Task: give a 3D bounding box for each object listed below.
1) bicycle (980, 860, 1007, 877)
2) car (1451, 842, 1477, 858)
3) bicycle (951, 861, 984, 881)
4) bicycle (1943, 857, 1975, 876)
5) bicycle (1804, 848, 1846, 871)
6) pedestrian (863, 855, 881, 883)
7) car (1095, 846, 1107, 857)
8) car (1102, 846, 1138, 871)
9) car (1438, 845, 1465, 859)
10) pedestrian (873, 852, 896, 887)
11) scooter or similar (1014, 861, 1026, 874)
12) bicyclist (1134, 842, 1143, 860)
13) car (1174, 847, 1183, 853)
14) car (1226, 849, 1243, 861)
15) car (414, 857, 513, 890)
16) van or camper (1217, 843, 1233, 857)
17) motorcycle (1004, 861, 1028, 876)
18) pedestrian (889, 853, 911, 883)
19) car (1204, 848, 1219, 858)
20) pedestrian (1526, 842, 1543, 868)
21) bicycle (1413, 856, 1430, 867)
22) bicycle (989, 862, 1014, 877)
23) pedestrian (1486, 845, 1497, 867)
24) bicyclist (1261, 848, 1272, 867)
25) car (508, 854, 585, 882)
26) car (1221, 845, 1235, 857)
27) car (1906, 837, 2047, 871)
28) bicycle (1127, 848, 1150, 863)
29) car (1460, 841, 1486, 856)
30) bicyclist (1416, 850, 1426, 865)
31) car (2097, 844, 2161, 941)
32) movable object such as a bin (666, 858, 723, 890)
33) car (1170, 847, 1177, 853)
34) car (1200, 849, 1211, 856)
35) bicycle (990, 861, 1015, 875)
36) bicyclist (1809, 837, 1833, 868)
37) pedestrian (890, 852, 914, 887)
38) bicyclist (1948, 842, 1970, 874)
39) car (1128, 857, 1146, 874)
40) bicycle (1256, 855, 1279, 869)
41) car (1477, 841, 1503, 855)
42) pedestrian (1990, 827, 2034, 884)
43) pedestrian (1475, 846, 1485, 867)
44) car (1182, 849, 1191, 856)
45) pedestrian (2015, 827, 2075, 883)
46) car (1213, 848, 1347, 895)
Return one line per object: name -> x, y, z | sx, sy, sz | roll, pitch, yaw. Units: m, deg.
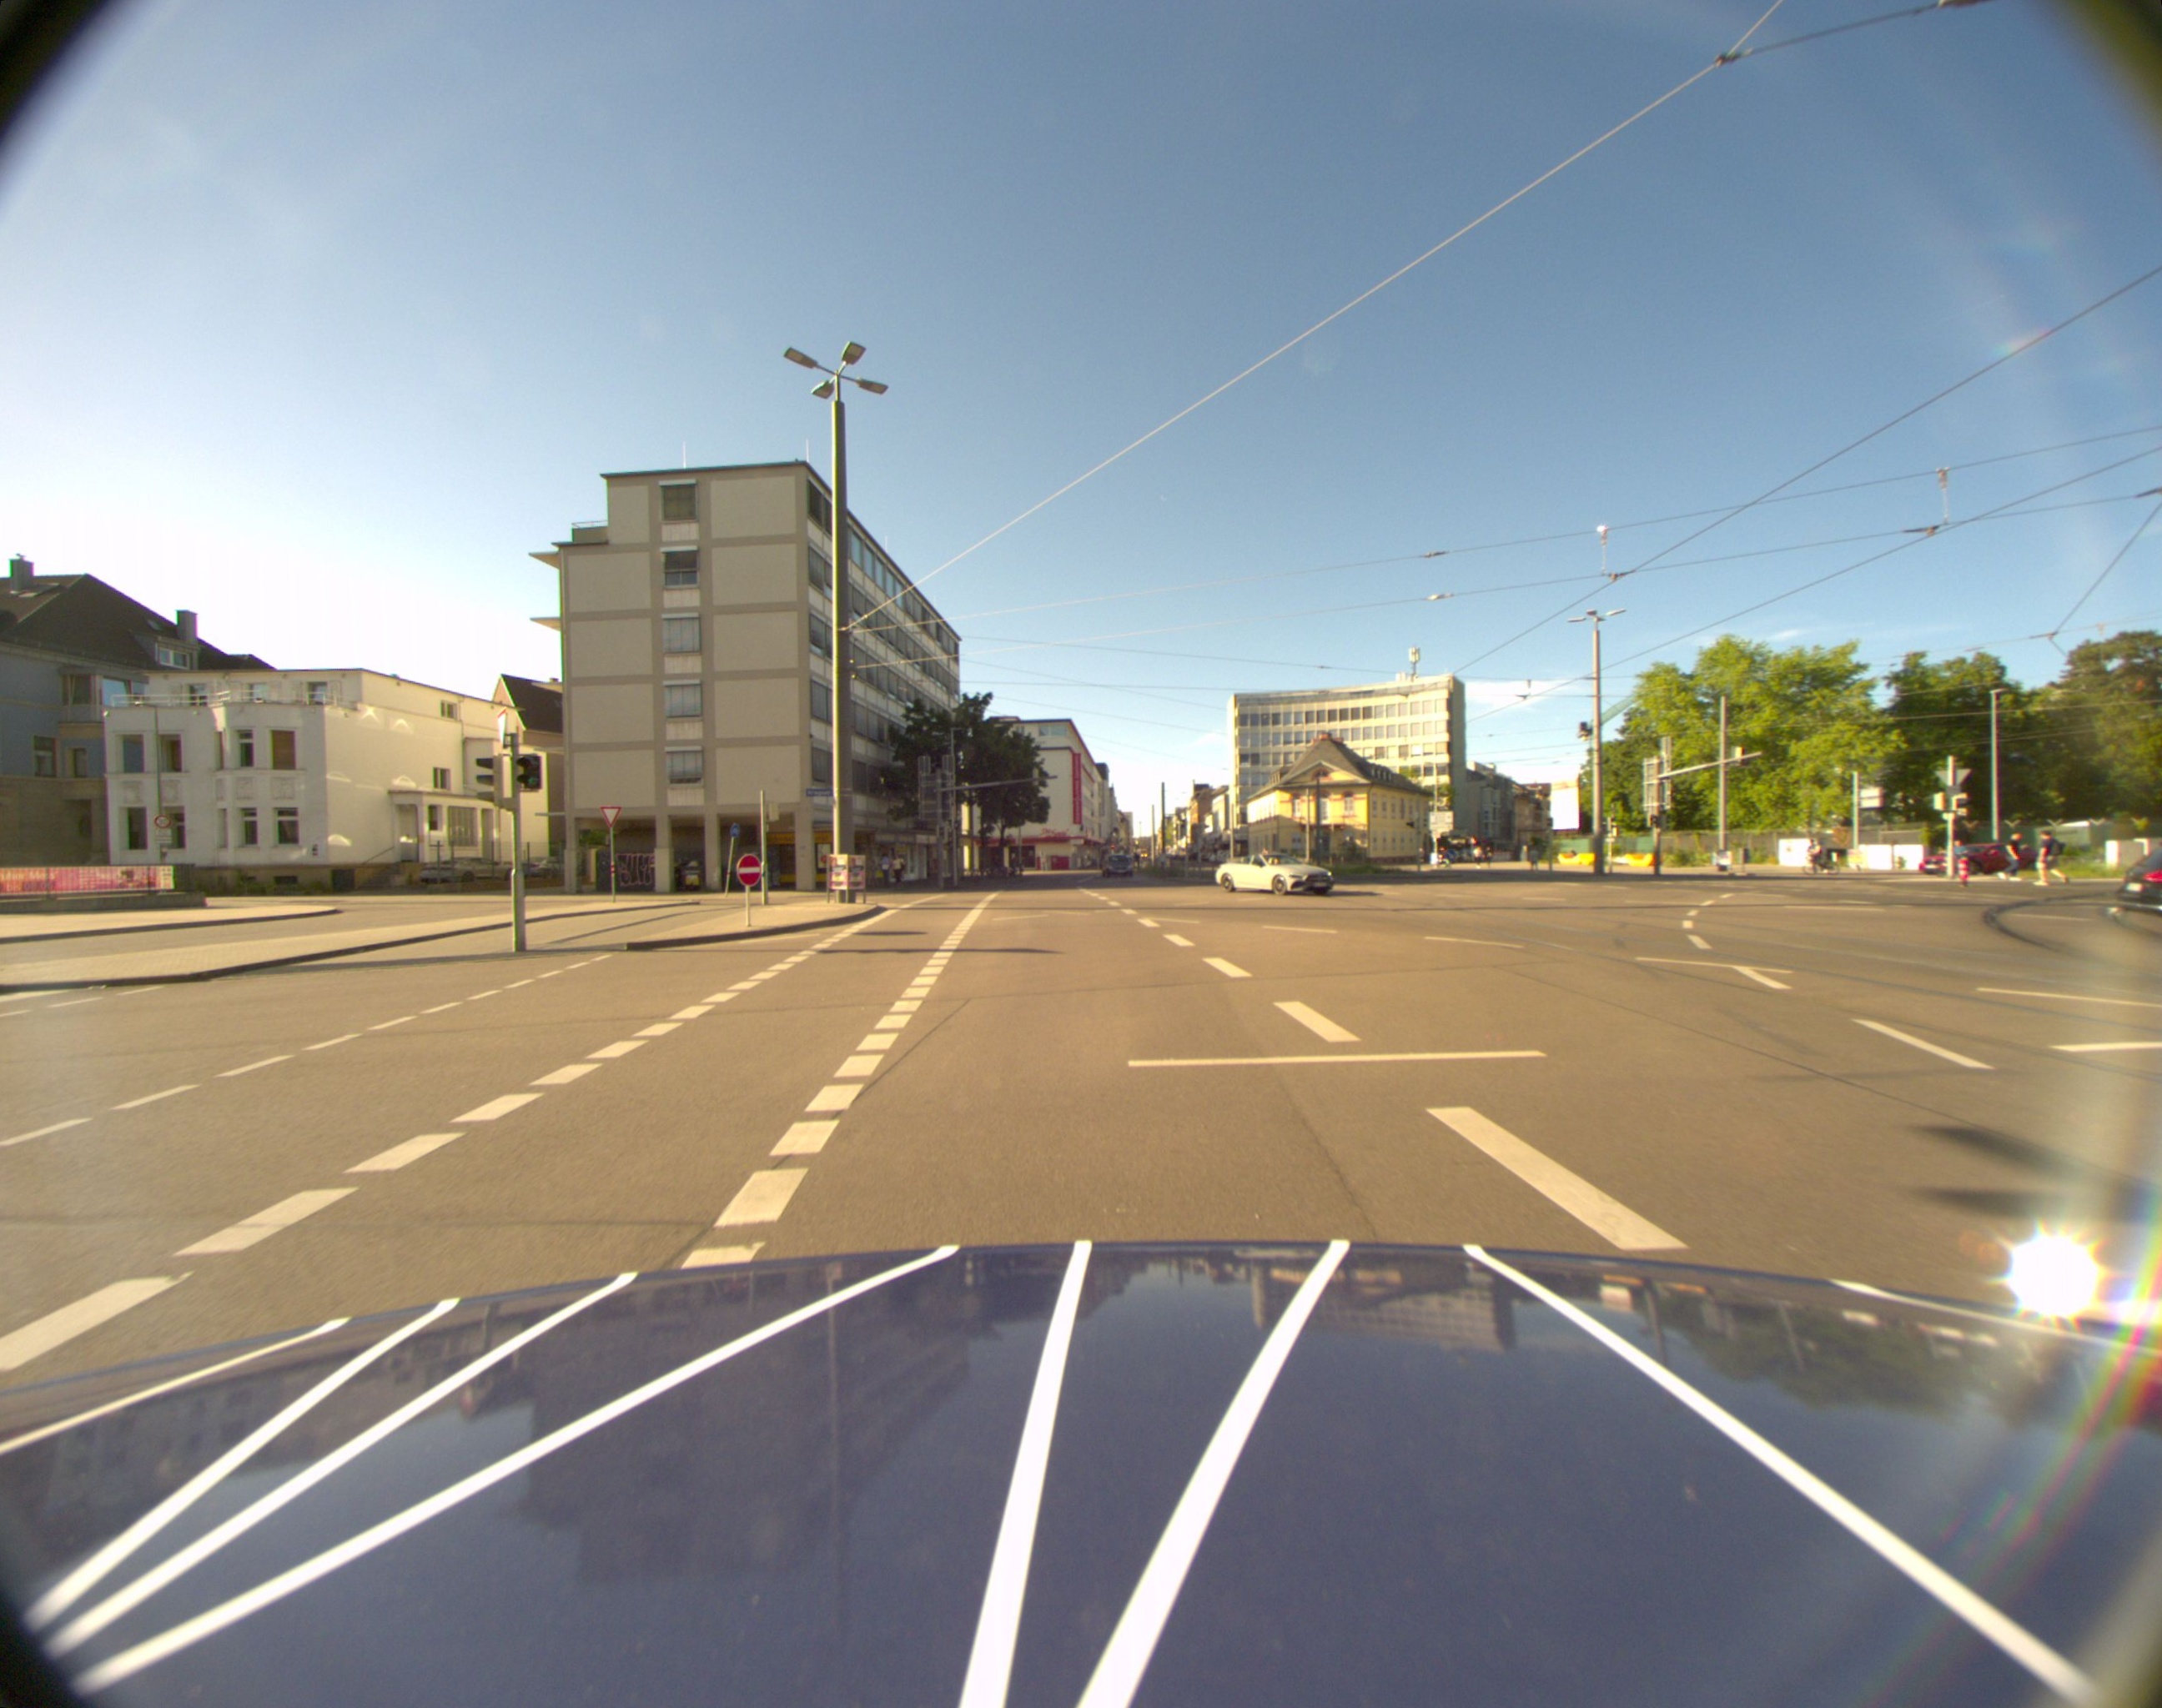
bicycle -> -6.133, 1.013, 53.169 | 1.813, 1.145, 0.435 | 0, 1, 3
car -> 42.958, -0.493, 85.153 | 1.888, 1.660, 3.871 | -1, 1, 38
bicycle -> -6.848, 1.039, 45.987 | 1.893, 1.150, 0.480 | 1, 1, 7
bicycle -> 36.527, 0.512, 31.608 | 1.176, 0.759, 0.320 | -1, 1, -9
bicycle -> 37.282, 0.271, 38.085 | 1.499, 1.127, 0.612 | -1, 1, 1
pedestrian -> -10.742, 0.766, 39.054 | 0.646, 1.414, 0.621 | -1, 1, 8
car -> 3.259, -0.401, 121.203 | 1.782, 1.654, 4.164 | 0, 1, 4
car -> 2.645, 0.252, 52.667 | 1.739, 1.654, 3.957 | 0, 1, -8
car -> 39.476, -0.207, 80.937 | 1.646, 1.339, 3.767 | -1, 1, 41
pedestrian -> -9.900, 0.776, 38.235 | 0.879, 1.711, 0.845 | -1, 1, 0
scooter or similar -> -4.939, 1.115, 61.268 | 0.965, 1.021, 0.160 | 0, 1, 10
bicyclist -> 4.918, -0.274, 64.764 | 0.683, 1.514, 0.634 | -1, 1, -3
car -> 24.859, -0.902, 194.334 | 1.781, 1.500, 4.670 | 0, 0, 2
car -> 21.187, 0.108, 104.962 | 1.780, 1.430, 3.962 | -2, 0, 6
car -> -32.295, 0.970, 39.909 | 1.800, 1.549, 4.026 | -1, 1, 1
van or camper -> 22.083, -0.607, 116.627 | 1.959, 1.962, 4.798 | -2, 1, 4
motorcycle -> -5.051, 1.110, 59.198 | 1.790, 1.123, 0.504 | -1, 1, 7
pedestrian -> -9.879, 0.776, 41.466 | 0.844, 1.593, 0.880 | -1, 1, 7
car -> 22.345, -0.180, 130.153 | 1.930, 1.444, 4.293 | -3, 0, 1
pedestrian -> 29.126, 0.074, 48.823 | 0.626, 1.678, 0.705 | -1, -1, -5
bicycle -> 34.503, 0.752, 76.988 | 1.888, 1.007, 0.650 | -2, 1, -35
bicycle -> -5.785, 1.142, 55.197 | 1.770, 1.051, 0.458 | -1, 1, 12
pedestrian -> 34.749, 0.170, 64.339 | 0.706, 1.841, 0.741 | -1, 1, 17
bicyclist -> 17.017, 0.311, 69.561 | 0.806, 1.640, 0.589 | -1, 3, -13
car -> -32.312, 0.834, 46.078 | 1.786, 1.551, 4.024 | -1, 1, 1
car -> 21.413, -0.401, 110.835 | 1.780, 1.611, 4.178 | -2, 0, 8
car -> 41.277, -0.007, 35.079 | 4.562, 1.500, 1.782 | 0, 0, -3
bicycle -> 4.903, 0.140, 64.772 | 1.825, 1.205, 0.641 | -1, 1, -4
car -> 46.144, -0.656, 89.333 | 1.797, 1.660, 3.763 | -1, 1, 42
bicyclist -> 34.451, 0.368, 76.932 | 0.732, 1.445, 0.664 | -2, 1, -35
car -> 18.145, 0.530, 10.571 | 4.516, 1.435, 1.774 | -1, 0, 41
movable object such as a bin -> -18.501, 0.945, 36.419 | 1.913, 1.461, 1.452 | 0, 2, 8
car -> 25.845, -1.143, 212.663 | 1.780, 1.500, 3.861 | 0, 0, 5
car -> 25.173, -0.293, 153.250 | 1.785, 1.408, 3.598 | -1, 1, 4
bicycle -> -5.920, 1.078, 57.113 | 1.855, 1.050, 0.399 | 0, 1, -4
bicyclist -> 37.077, -0.078, 38.077 | 0.616, 1.484, 0.610 | -1, 1, 0
pedestrian -> -8.877, 0.768, 37.762 | 0.844, 1.697, 0.880 | -1, 1, 7
bicyclist -> 36.488, 0.158, 31.582 | 0.460, 1.308, 0.400 | -1, 1, -9
car -> 6.077, 1.218, 81.701 | 1.782, 1.654, 3.962 | 1, 1, 6
bicycle -> 17.069, 0.742, 69.557 | 2.027, 1.283, 0.574 | -1, 1, -13
car -> 49.979, -0.713, 92.788 | 1.797, 1.660, 3.763 | -1, 1, 45
pedestrian -> 32.389, 0.055, 26.449 | 0.723, 1.922, 0.799 | -1, 1, 27
pedestrian -> 34.045, 0.192, 64.819 | 0.595, 1.807, 0.705 | -1, 1, 17
car -> 22.074, -0.341, 159.071 | 1.688, 1.551, 4.123 | -1, 1, 5
pedestrian -> 30.213, 0.024, 23.829 | 0.697, 1.700, 0.930 | -1, 1, 1
car -> 6.693, 0.544, 26.144 | 1.872, 1.431, 4.764 | -1, 1, -25
